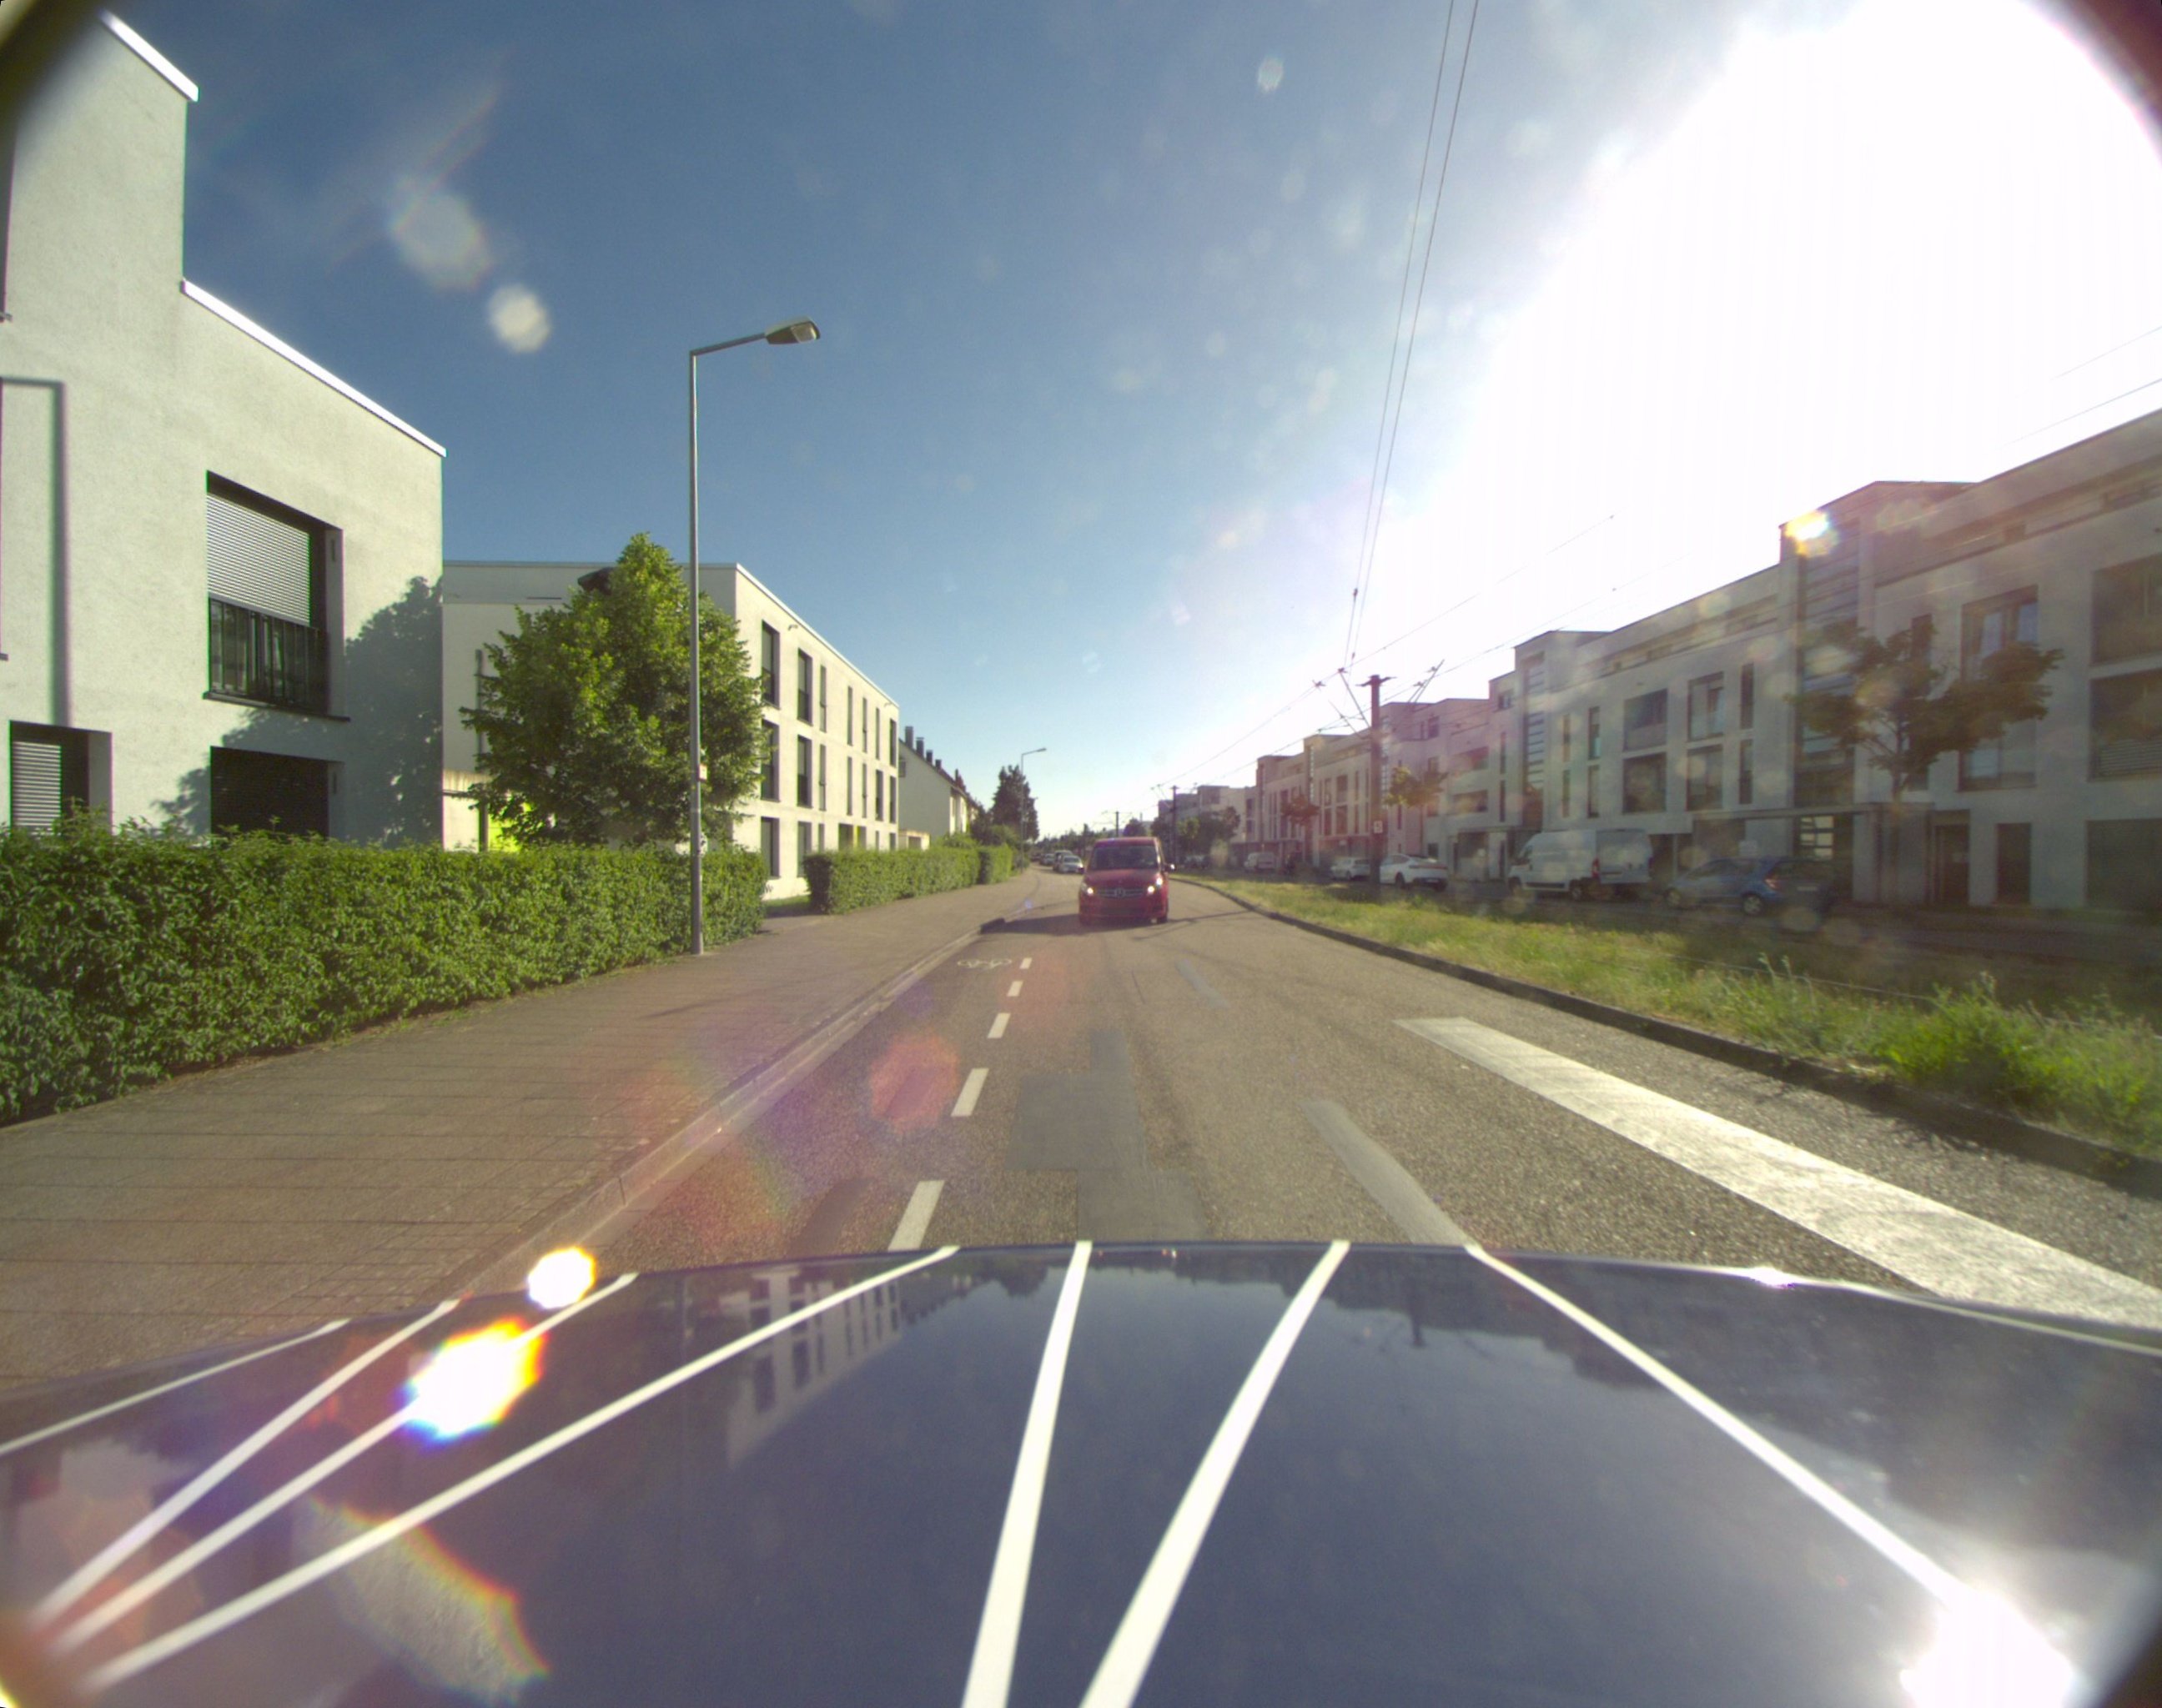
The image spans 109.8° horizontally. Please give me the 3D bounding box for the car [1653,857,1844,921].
[{"bbox_3d":[17.975,0.862,20.742,1.829,1.528,3.842,-1,0,0],"label":"car"}]

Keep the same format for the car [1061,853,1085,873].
[{"bbox_3d":[-0.624,0.653,59.336,1.700,1.466,4.013,2,0,-1],"label":"car"}]

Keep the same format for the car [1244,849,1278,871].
[{"bbox_3d":[16.164,0.502,68.510,1.766,1.859,4.155,-1,0,-4],"label":"car"}]

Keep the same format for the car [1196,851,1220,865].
[{"bbox_3d":[14.700,0.442,88.187,1.766,1.590,4.155,-1,0,-4],"label":"car"}]

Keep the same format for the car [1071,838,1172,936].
[{"bbox_3d":[0.997,0.660,17.941,1.979,1.922,5.206,-2,0,4],"label":"car"}]

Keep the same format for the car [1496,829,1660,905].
[{"bbox_3d":[17.829,0.423,27.710,2.146,2.430,5.588,-1,0,-2],"label":"car"}]

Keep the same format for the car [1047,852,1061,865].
[{"bbox_3d":[-3.484,0.536,99.450,1.700,1.604,4.013,2,0,-1],"label":"car"}]

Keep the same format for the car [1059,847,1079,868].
[{"bbox_3d":[-1.190,0.346,75.748,1.893,1.951,4.013,2,0,-1],"label":"car"}]

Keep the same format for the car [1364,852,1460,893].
[{"bbox_3d":[14.504,0.760,33.625,1.999,1.586,4.645,2,0,-2],"label":"car"}]

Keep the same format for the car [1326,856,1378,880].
[{"bbox_3d":[17.100,0.842,48.138,1.521,1.423,4.155,-1,0,-4],"label":"car"}]

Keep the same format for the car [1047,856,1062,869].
[{"bbox_3d":[-3.225,1.001,92.521,1.700,1.466,4.013,2,0,-1],"label":"car"}]

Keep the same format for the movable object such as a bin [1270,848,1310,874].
[{"bbox_3d":[16.564,0.519,60.314,1.766,1.926,4.155,-1,0,-4],"label":"movable object such as a bin"}]

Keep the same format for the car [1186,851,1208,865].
[{"bbox_3d":[14.273,0.498,93.819,1.766,1.590,4.155,-1,0,-4],"label":"car"}]
